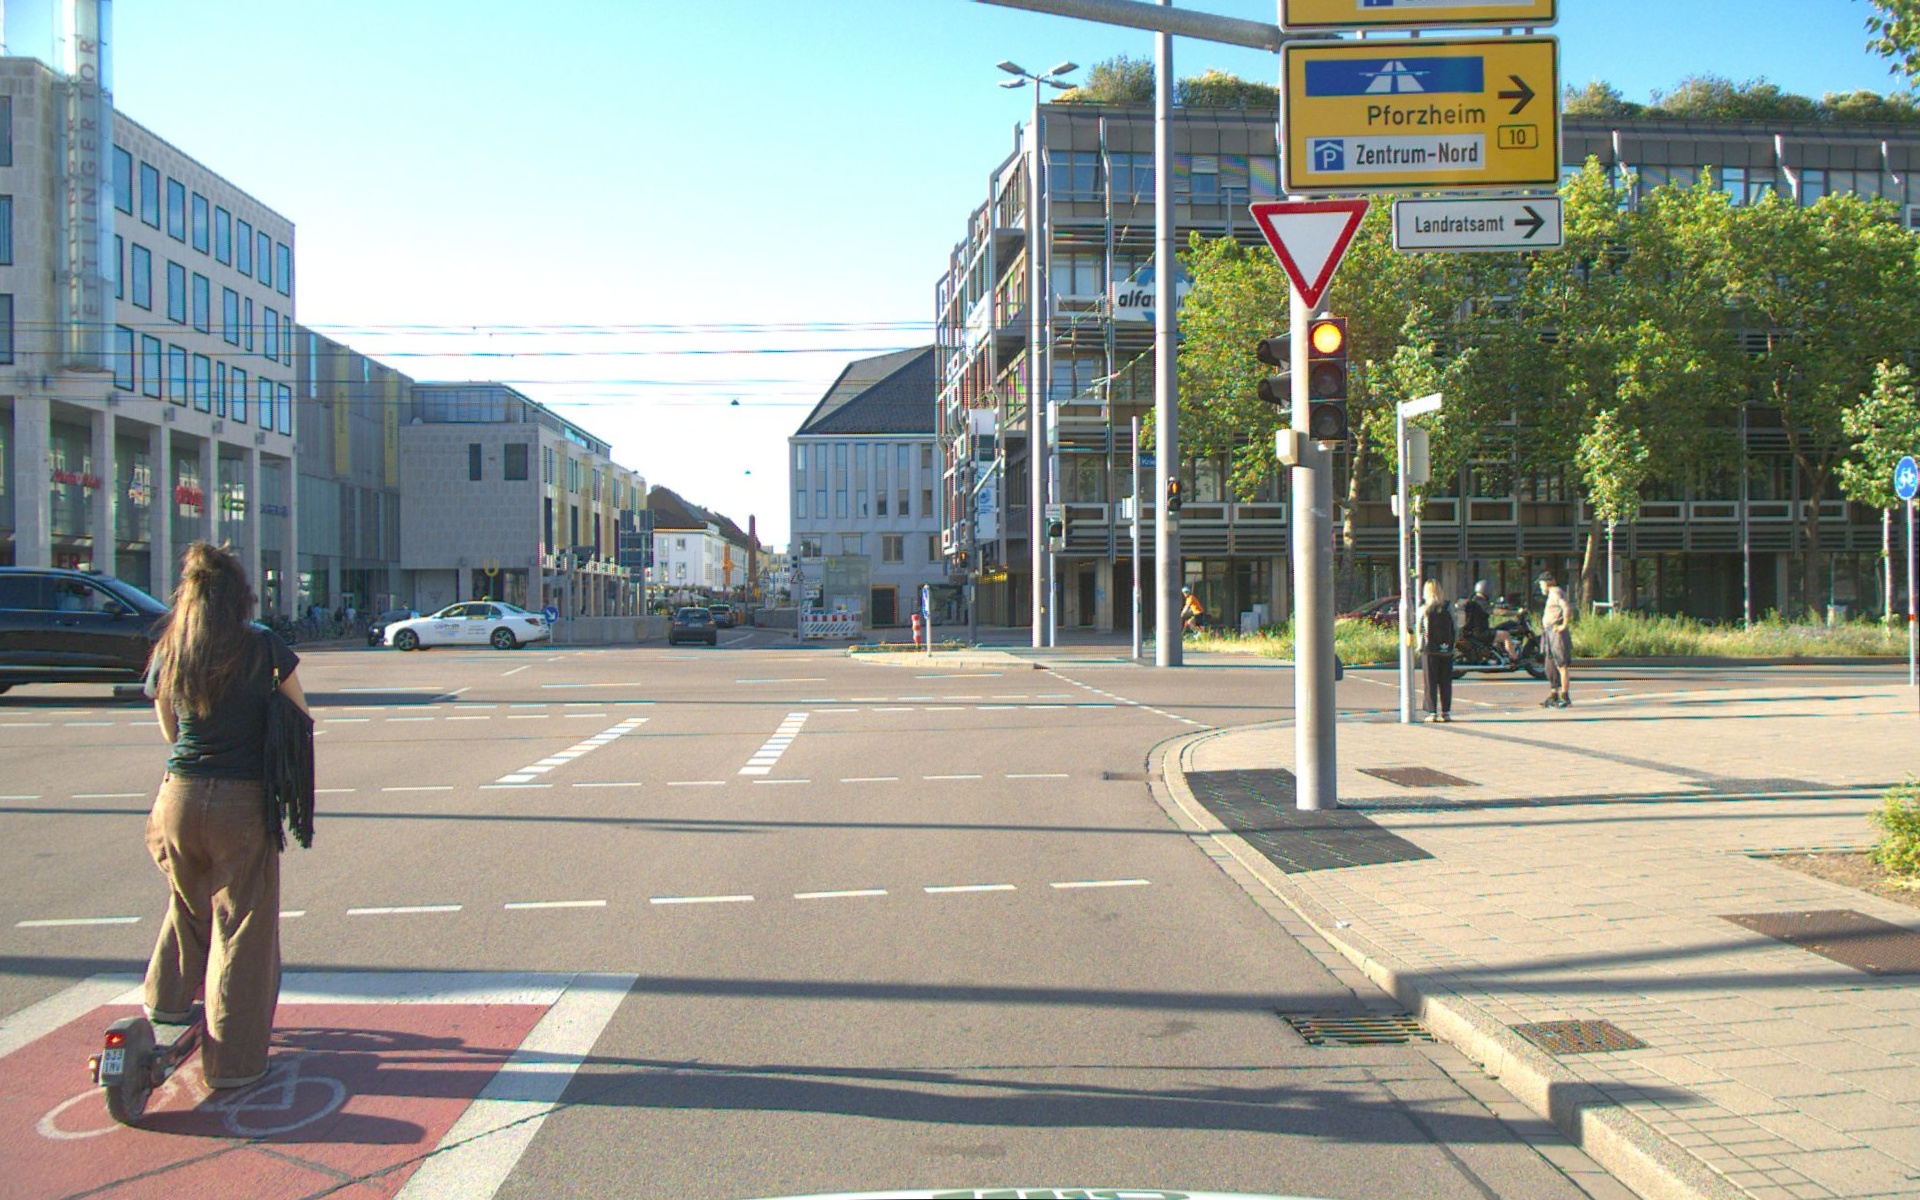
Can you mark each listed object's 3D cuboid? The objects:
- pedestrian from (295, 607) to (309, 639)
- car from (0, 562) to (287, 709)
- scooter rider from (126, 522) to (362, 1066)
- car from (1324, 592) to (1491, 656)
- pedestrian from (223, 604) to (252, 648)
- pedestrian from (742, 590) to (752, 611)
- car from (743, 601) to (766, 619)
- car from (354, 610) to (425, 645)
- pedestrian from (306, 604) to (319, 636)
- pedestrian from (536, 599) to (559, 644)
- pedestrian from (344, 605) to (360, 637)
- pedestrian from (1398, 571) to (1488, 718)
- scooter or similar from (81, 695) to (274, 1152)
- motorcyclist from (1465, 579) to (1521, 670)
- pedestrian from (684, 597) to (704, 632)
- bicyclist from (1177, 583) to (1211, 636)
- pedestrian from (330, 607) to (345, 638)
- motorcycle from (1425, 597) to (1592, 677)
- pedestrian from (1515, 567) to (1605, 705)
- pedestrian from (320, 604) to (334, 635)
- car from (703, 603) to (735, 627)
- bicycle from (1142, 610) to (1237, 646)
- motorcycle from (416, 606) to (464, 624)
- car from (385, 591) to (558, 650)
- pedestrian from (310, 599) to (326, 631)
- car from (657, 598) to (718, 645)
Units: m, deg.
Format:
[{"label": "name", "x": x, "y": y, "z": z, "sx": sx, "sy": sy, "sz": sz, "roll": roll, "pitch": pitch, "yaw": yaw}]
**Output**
[{"label": "pedestrian", "x": -36.394, "y": 1.270, "z": 91.432, "sx": 0.462, "sy": 1.759, "sz": 0.518, "roll": 0, "pitch": -1, "yaw": 38}, {"label": "car", "x": -11.880, "y": 0.455, "z": 22.595, "sx": 4.735, "sy": 1.896, "sz": 1.879, "roll": -1, "pitch": 0, "yaw": -15}, {"label": "scooter rider", "x": -2.147, "y": 0.553, "z": 5.002, "sx": 0.542, "sy": 1.556, "sz": 0.448, "roll": -1, "pitch": 0, "yaw": -9}, {"label": "car", "x": 12.597, "y": 0.644, "z": 46.647, "sx": 4.212, "sy": 1.713, "sz": 1.820, "roll": -1, "pitch": 0, "yaw": -11}, {"label": "pedestrian", "x": -27.349, "y": 0.982, "z": 62.620, "sx": 0.760, "sy": 1.667, "sz": 0.626, "roll": -1, "pitch": 0, "yaw": 5}, {"label": "pedestrian", "x": -21.151, "y": 0.046, "z": 164.361, "sx": 0.892, "sy": 1.999, "sz": 0.822, "roll": 1, "pitch": -1, "yaw": -1}, {"label": "car", "x": -18.047, "y": 0.862, "z": 145.658, "sx": 1.625, "sy": 1.484, "sz": 3.541, "roll": -1, "pitch": 0, "yaw": -1}, {"label": "car", "x": -23.902, "y": 1.123, "z": 69.415, "sx": 1.642, "sy": 1.381, "sz": 4.019, "roll": -1, "pitch": 0, "yaw": -2}, {"label": "pedestrian", "x": -36.310, "y": 1.112, "z": 92.770, "sx": 0.462, "sy": 1.759, "sz": 0.518, "roll": 0, "pitch": -1, "yaw": 38}, {"label": "pedestrian", "x": -15.669, "y": 0.817, "z": 62.828, "sx": 0.685, "sy": 1.718, "sz": 0.619, "roll": -1, "pitch": 0, "yaw": 0}, {"label": "pedestrian", "x": -33.372, "y": 1.154, "z": 90.783, "sx": 0.462, "sy": 1.759, "sz": 0.692, "roll": 0, "pitch": -1, "yaw": 37}, {"label": "pedestrian", "x": 5.542, "y": 0.495, "z": 19.023, "sx": 0.750, "sy": 1.642, "sz": 0.874, "roll": -1, "pitch": 0, "yaw": -2}, {"label": "scooter or similar", "x": -2.207, "y": 0.862, "z": 4.719, "sx": 0.301, "sy": 1.127, "sz": 0.836, "roll": -1, "pitch": 0, "yaw": -12}, {"label": "motorcyclist", "x": 8.647, "y": 0.386, "z": 26.857, "sx": 0.645, "sy": 1.448, "sz": 0.646, "roll": -1, "pitch": 1, "yaw": -10}, {"label": "pedestrian", "x": -14.088, "y": 0.759, "z": 87.618, "sx": 0.881, "sy": 1.814, "sz": 0.808, "roll": 0, "pitch": 0, "yaw": -1}, {"label": "bicyclist", "x": 6.676, "y": 0.276, "z": 47.223, "sx": 0.806, "sy": 1.500, "sz": 0.652, "roll": -1, "pitch": 0, "yaw": -5}, {"label": "pedestrian", "x": -34.902, "y": 1.256, "z": 92.690, "sx": 0.461, "sy": 1.759, "sz": 0.627, "roll": 1, "pitch": -1, "yaw": 28}, {"label": "motorcycle", "x": 8.925, "y": 0.591, "z": 26.920, "sx": 2.547, "sy": 1.229, "sz": 0.728, "roll": -1, "pitch": 1, "yaw": -10}, {"label": "pedestrian", "x": 7.701, "y": 0.454, "z": 21.252, "sx": 0.854, "sy": 1.736, "sz": 0.768, "roll": -1, "pitch": 0, "yaw": -3}, {"label": "pedestrian", "x": -35.503, "y": 1.101, "z": 92.750, "sx": 0.462, "sy": 1.712, "sz": 0.518, "roll": 0, "pitch": -1, "yaw": 38}, {"label": "car", "x": -15.699, "y": 0.960, "z": 107.823, "sx": 1.625, "sy": 1.484, "sz": 3.541, "roll": -1, "pitch": 0, "yaw": -1}, {"label": "bicycle", "x": 6.537, "y": 0.795, "z": 47.203, "sx": 2.517, "sy": 0.992, "sz": 1.047, "roll": -1, "pitch": 0, "yaw": -4}, {"label": "motorcycle", "x": -30.655, "y": 0.872, "z": 97.529, "sx": 2.555, "sy": 1.010, "sz": 1.113, "roll": 1, "pitch": 0, "yaw": -10}, {"label": "car", "x": -14.883, "y": 0.623, "z": 50.591, "sx": 4.747, "sy": 1.713, "sz": 1.825, "roll": -1, "pitch": 0, "yaw": -2}, {"label": "pedestrian", "x": -34.828, "y": 0.809, "z": 89.784, "sx": 0.462, "sy": 1.759, "sz": 0.626, "roll": 1, "pitch": -1, "yaw": 33}, {"label": "car", "x": -10.465, "y": 0.805, "z": 63.342, "sx": 1.791, "sy": 1.713, "sz": 3.980, "roll": -1, "pitch": 0, "yaw": -17}]
